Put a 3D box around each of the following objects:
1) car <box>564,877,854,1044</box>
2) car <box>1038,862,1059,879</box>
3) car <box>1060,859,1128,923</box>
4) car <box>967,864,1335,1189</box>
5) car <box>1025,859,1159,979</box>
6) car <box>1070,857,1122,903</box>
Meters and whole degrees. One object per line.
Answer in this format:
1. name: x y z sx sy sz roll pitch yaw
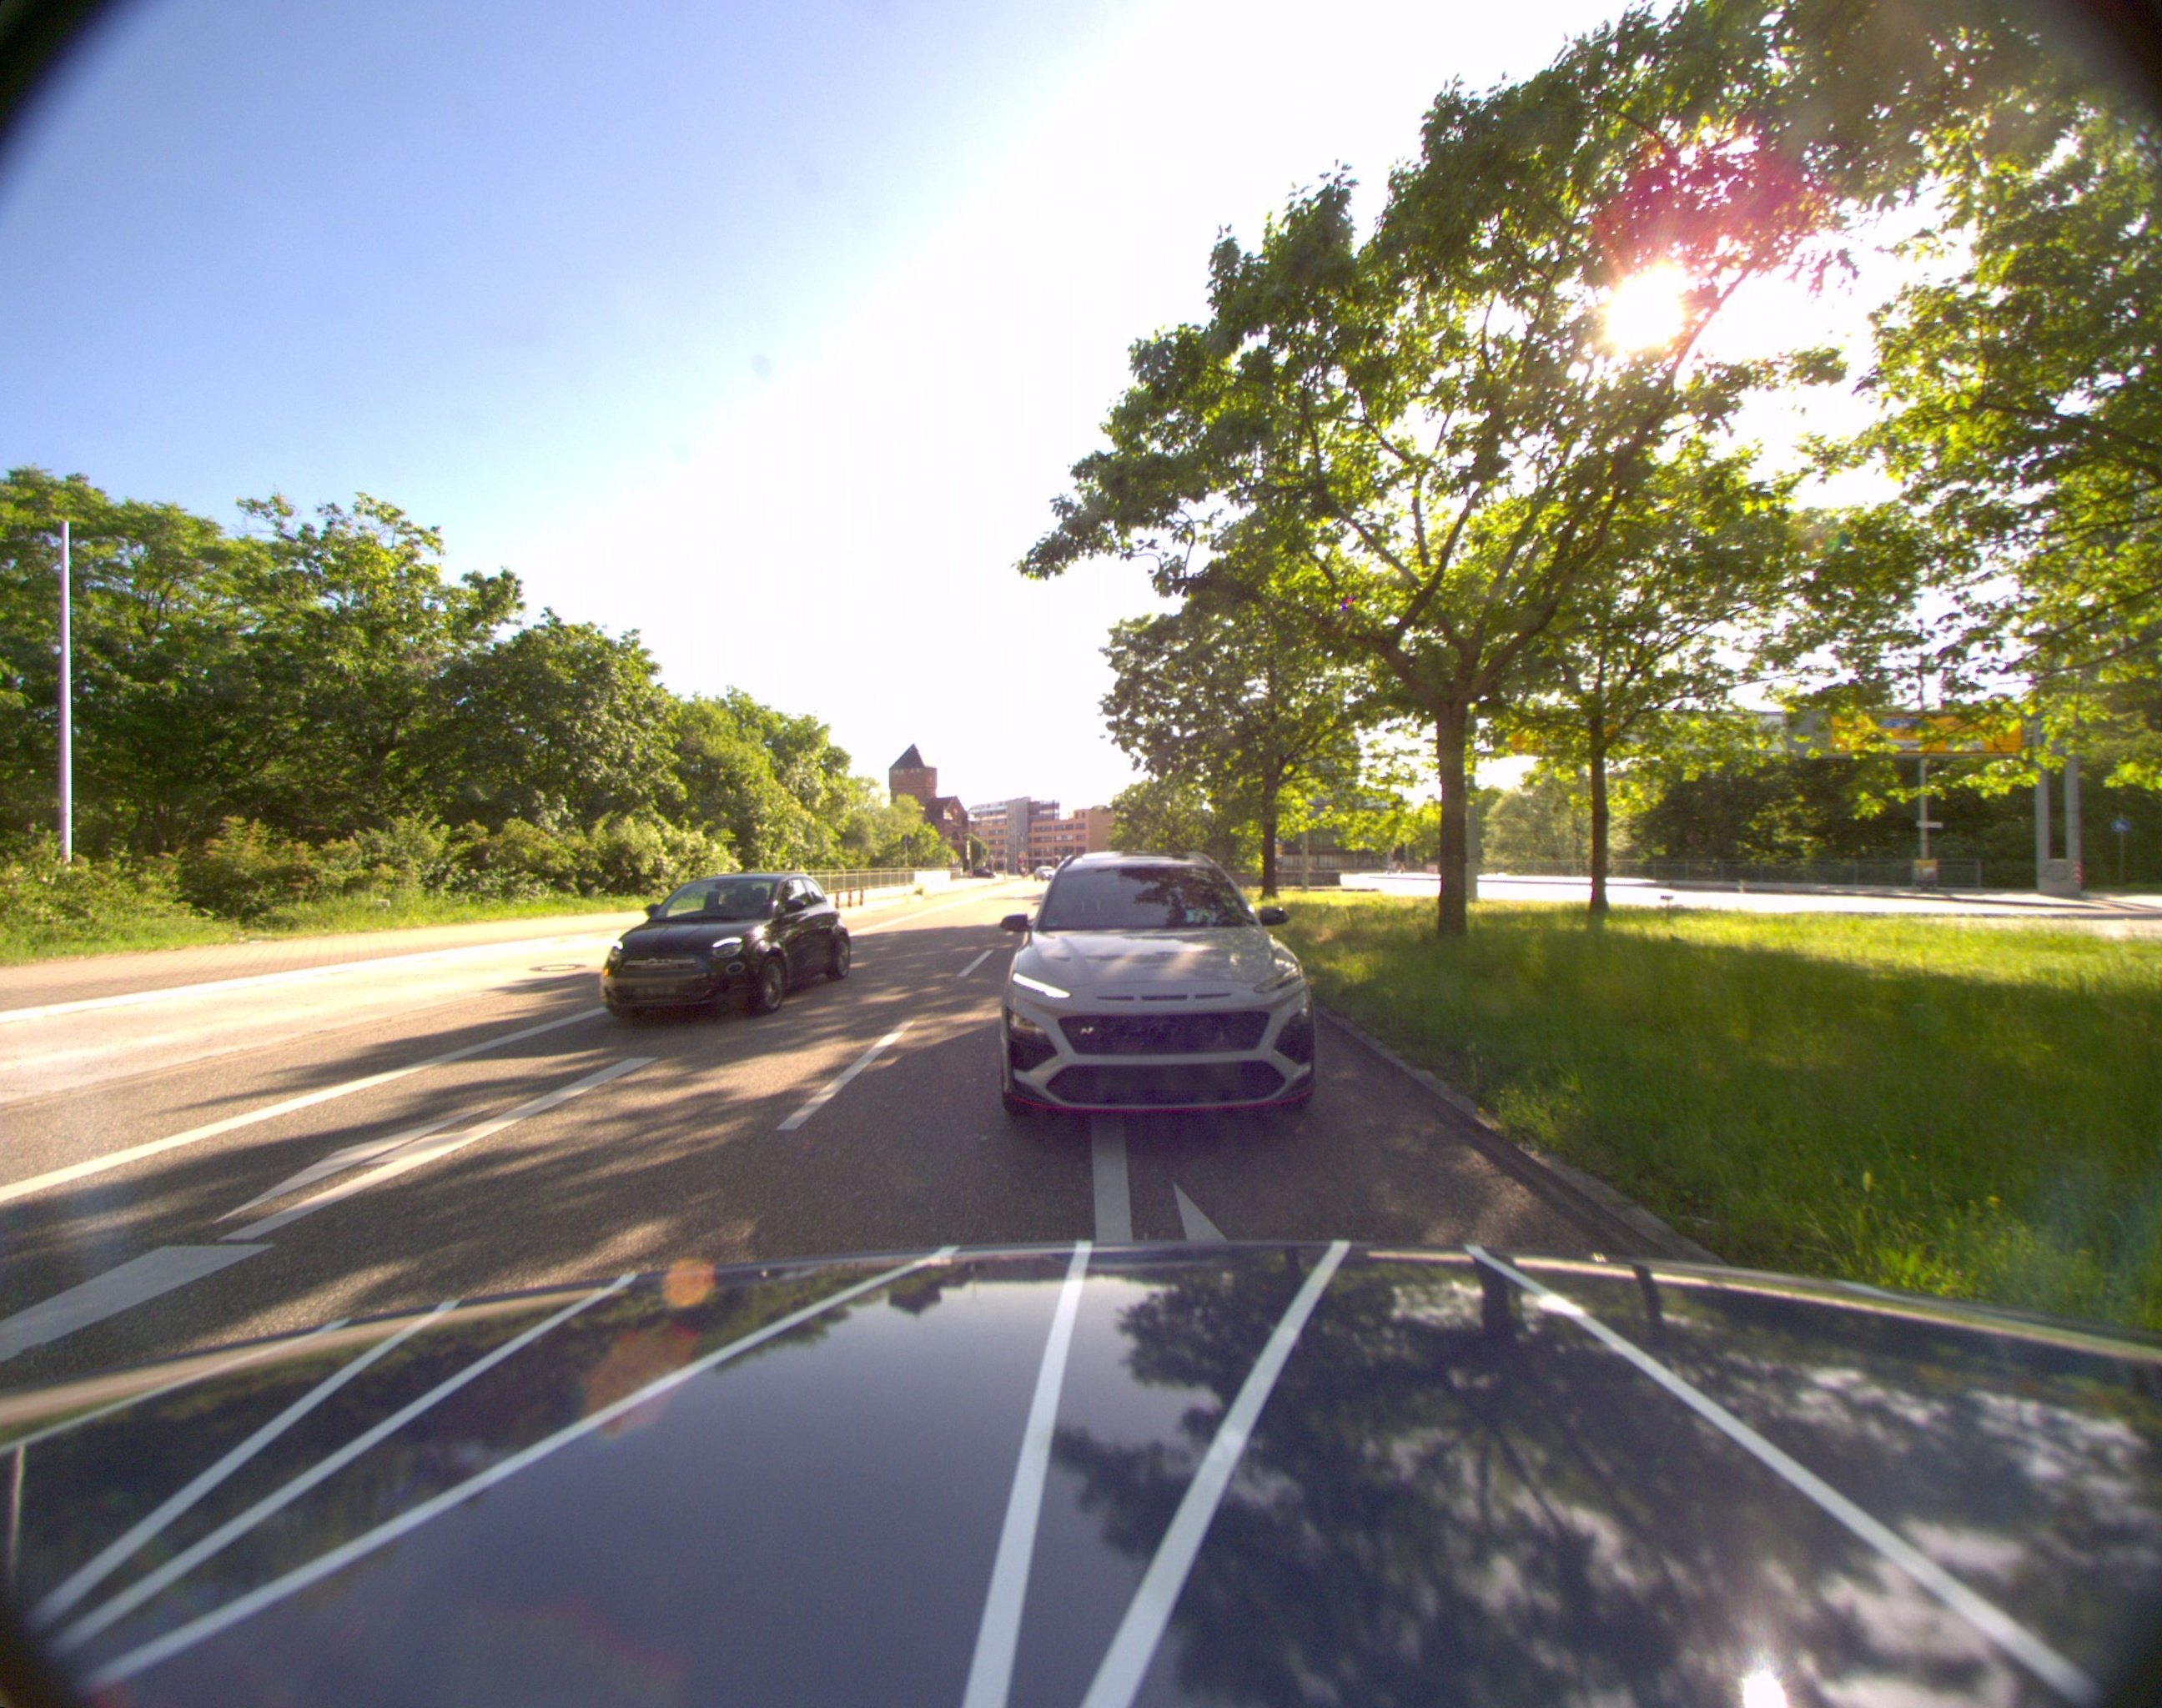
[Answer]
1. car: -4.130 1.084 9.129 1.678 1.494 3.562 -1 0 0
2. car: -3.452 1.718 80.167 1.999 1.595 4.209 -1 0 -6
3. car: 0.419 0.954 21.180 1.678 1.499 3.949 -2 1 2
4. car: 0.415 0.880 5.716 1.780 1.542 3.981 -1 0 2
5. car: 0.355 0.943 12.776 1.744 1.539 4.002 -6 -1 6
6. car: 0.532 0.967 30.132 1.834 1.637 3.999 -1 0 -2
